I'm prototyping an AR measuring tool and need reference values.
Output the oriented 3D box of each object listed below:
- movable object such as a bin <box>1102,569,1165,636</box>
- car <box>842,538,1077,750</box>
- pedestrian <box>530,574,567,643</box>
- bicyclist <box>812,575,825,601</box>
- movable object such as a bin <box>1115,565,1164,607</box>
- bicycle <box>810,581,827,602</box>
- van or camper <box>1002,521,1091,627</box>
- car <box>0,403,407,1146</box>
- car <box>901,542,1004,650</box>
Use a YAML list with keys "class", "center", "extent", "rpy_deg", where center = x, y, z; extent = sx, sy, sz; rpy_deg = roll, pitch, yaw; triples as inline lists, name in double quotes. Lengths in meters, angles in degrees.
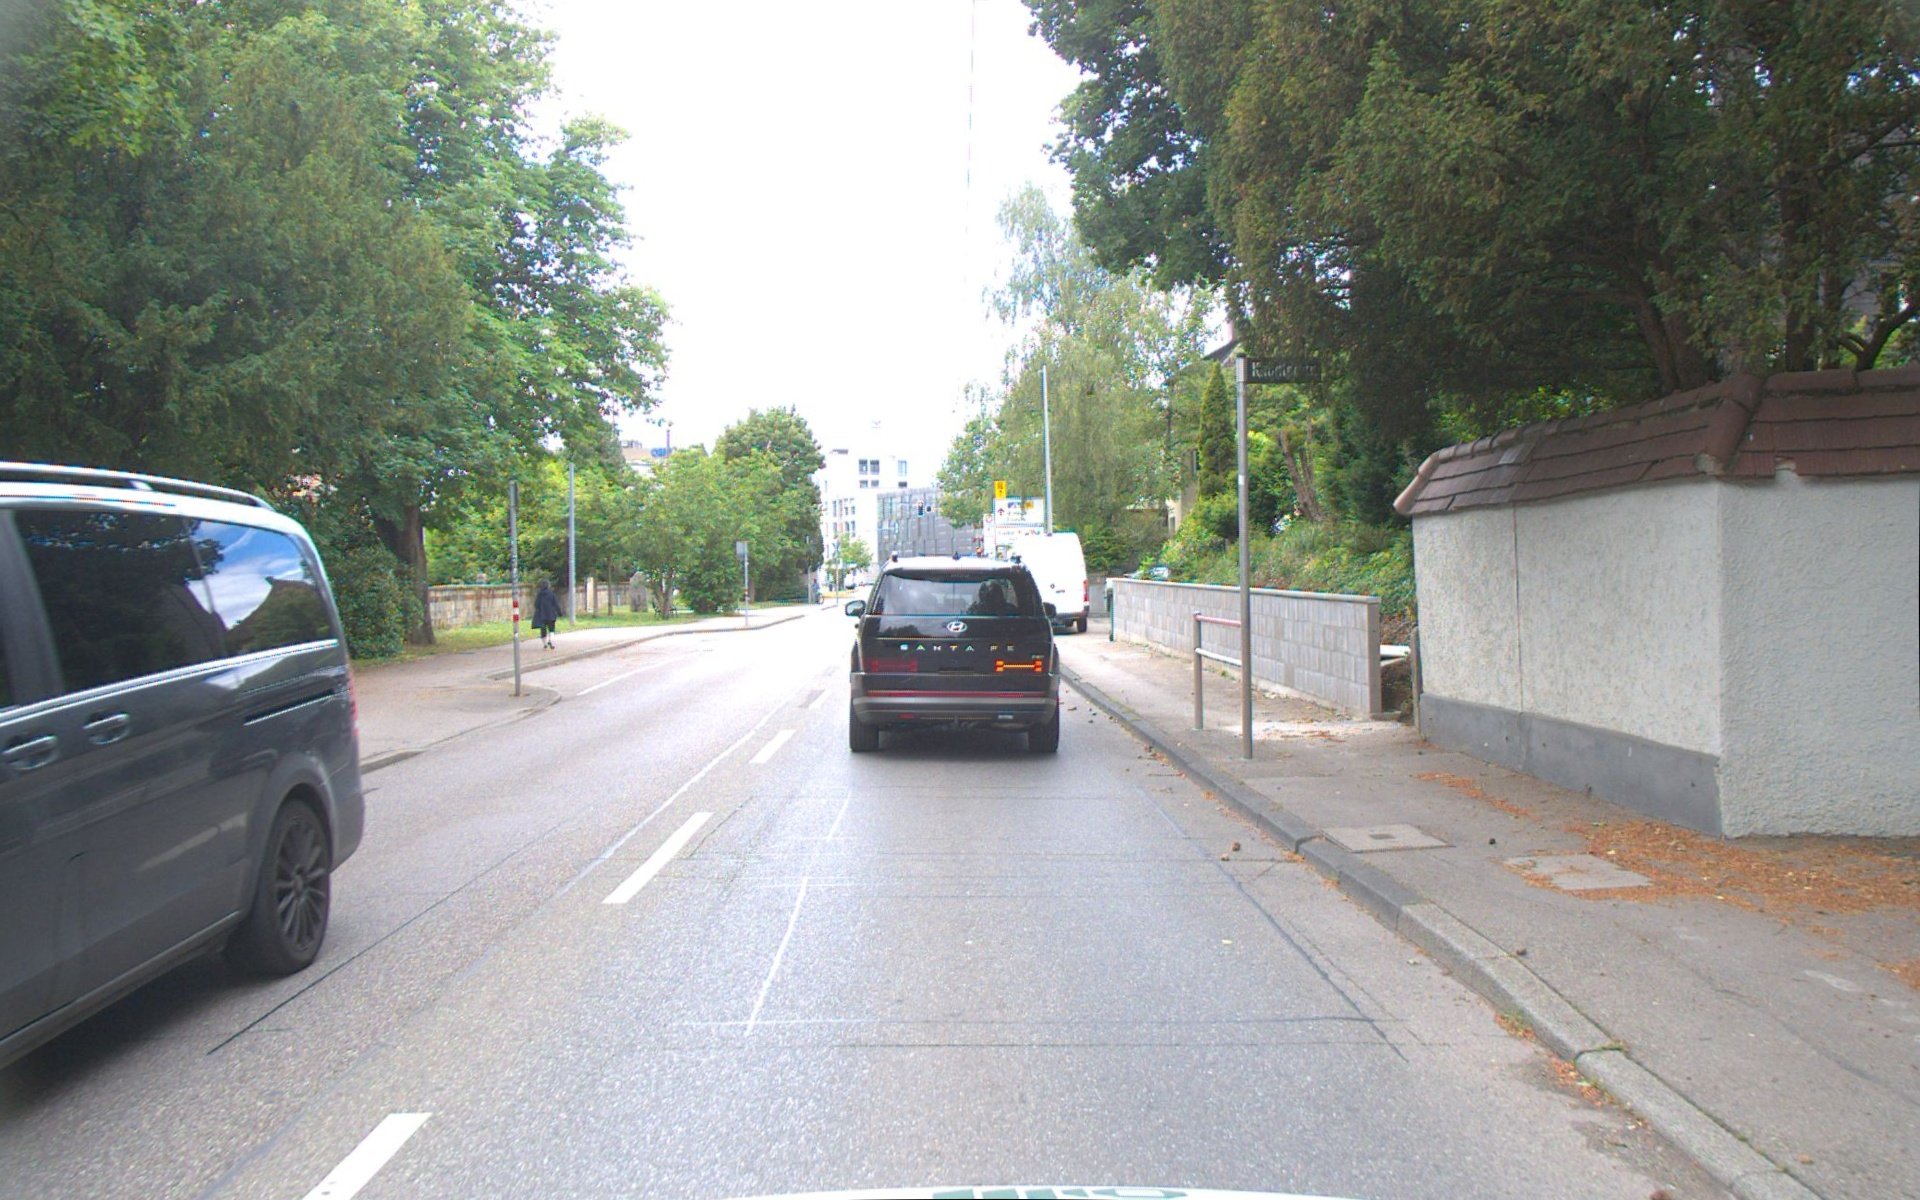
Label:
- class: "movable object such as a bin"
  center: [3.952, 0.049, 37.759]
  extent: [1.273, 1.476, 1.180]
  rpy_deg: [-2, 0, -1]
- class: "car"
  center: [-0.025, 0.334, 15.650]
  extent: [1.923, 1.741, 4.000]
  rpy_deg: [0, 1, -1]
- class: "pedestrian"
  center: [-9.738, 0.196, 39.188]
  extent: [0.734, 1.605, 0.965]
  rpy_deg: [0, 1, -8]
- class: "bicyclist"
  center: [-9.225, -0.789, 107.871]
  extent: [0.664, 1.688, 0.855]
  rpy_deg: [1, -1, -15]
- class: "movable object such as a bin"
  center: [6.481, -0.511, 59.695]
  extent: [1.422, 1.499, 1.715]
  rpy_deg: [0, 1, -6]
- class: "bicycle"
  center: [-9.221, -0.566, 107.839]
  extent: [0.664, 1.302, 2.491]
  rpy_deg: [1, -1, -14]
- class: "van or camper"
  center: [2.353, -0.724, 46.597]
  extent: [1.924, 2.673, 6.357]
  rpy_deg: [-3, 1, -1]
- class: "car"
  center: [-3.415, 0.485, 4.905]
  extent: [1.852, 1.887, 5.081]
  rpy_deg: [-4, 1, -2]
- class: "car"
  center: [-0.192, -0.103, 33.208]
  extent: [1.924, 2.036, 3.999]
  rpy_deg: [0, 1, -2]
